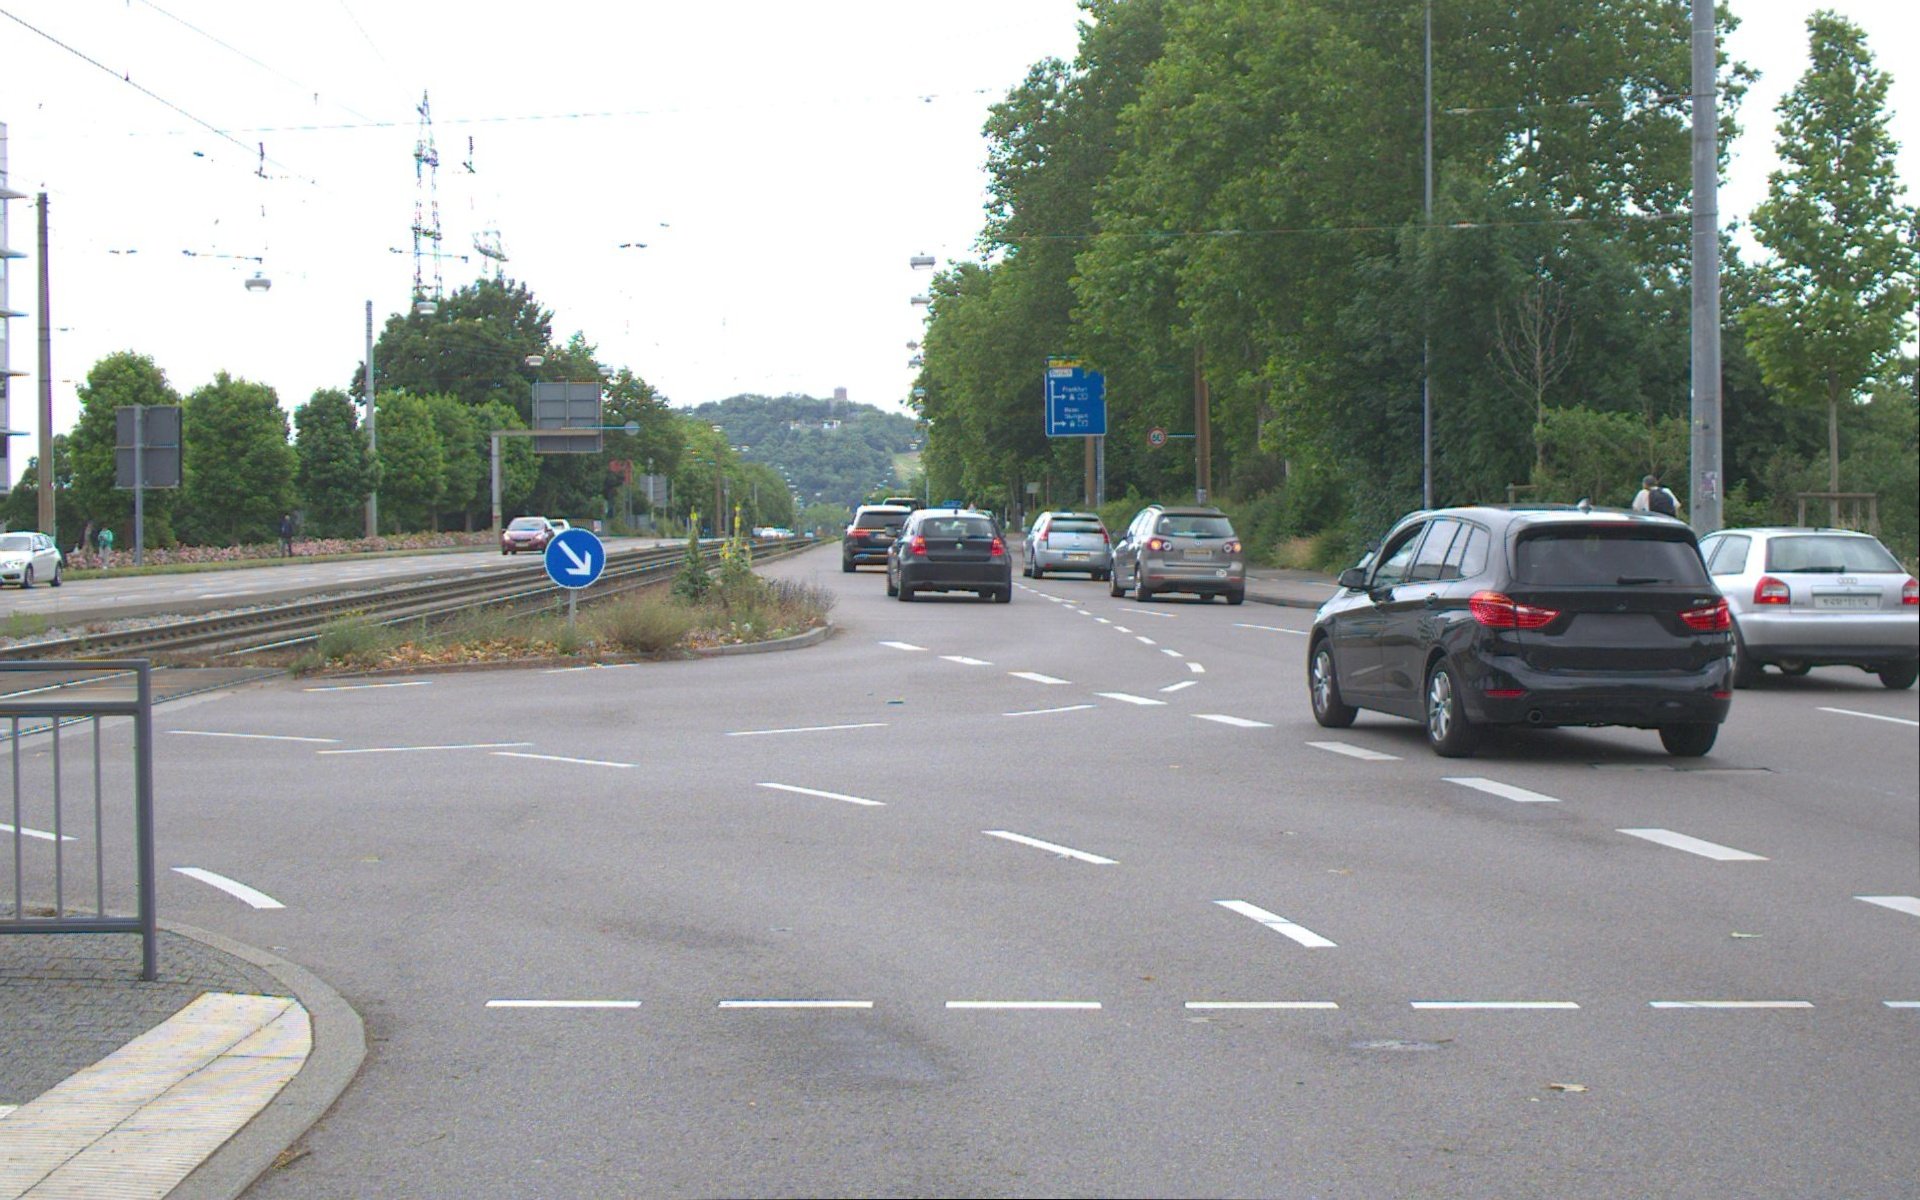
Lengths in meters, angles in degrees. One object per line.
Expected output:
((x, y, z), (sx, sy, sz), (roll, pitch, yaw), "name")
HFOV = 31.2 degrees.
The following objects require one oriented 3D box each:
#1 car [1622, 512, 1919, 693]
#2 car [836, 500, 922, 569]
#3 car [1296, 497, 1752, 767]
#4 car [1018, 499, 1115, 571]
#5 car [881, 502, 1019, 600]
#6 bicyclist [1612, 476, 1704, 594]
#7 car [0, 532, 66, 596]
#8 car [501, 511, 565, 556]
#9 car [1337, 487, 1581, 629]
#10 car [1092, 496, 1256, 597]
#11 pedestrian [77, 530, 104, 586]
((7.418, -0.025, 31.223), (1.728, 1.504, 3.633), (1, 2, -6), "car")
((-1.810, -1.428, 75.780), (1.815, 1.475, 3.672), (1, 1, -2), "car")
((3.630, 0.140, 22.956), (1.831, 1.631, 4.318), (0, 1, -7), "car")
((2.263, -1.383, 73.994), (1.815, 1.475, 3.672), (1, 1, -2), "car")
((-0.187, -0.781, 53.376), (1.746, 1.426, 3.376), (1, 2, -7), "car")
((8.968, -0.848, 44.208), (0.816, 1.473, 1.000), (-2, 3, -11), "bicyclist")
((-24.182, -0.938, 87.504), (1.728, 1.533, 4.046), (1, 1, 1), "car")
((-16.846, -2.622, 135.783), (1.993, 1.722, 4.000), (1, 1, 0), "car")
((5.923, -0.511, 41.339), (1.856, 1.556, 4.318), (2, 1, -6), "car")
((3.500, -0.889, 56.900), (1.856, 1.556, 4.318), (2, 1, -8), "car")
((-26.050, -1.264, 102.981), (0.613, 1.648, 0.545), (1, 0, -36), "pedestrian")
